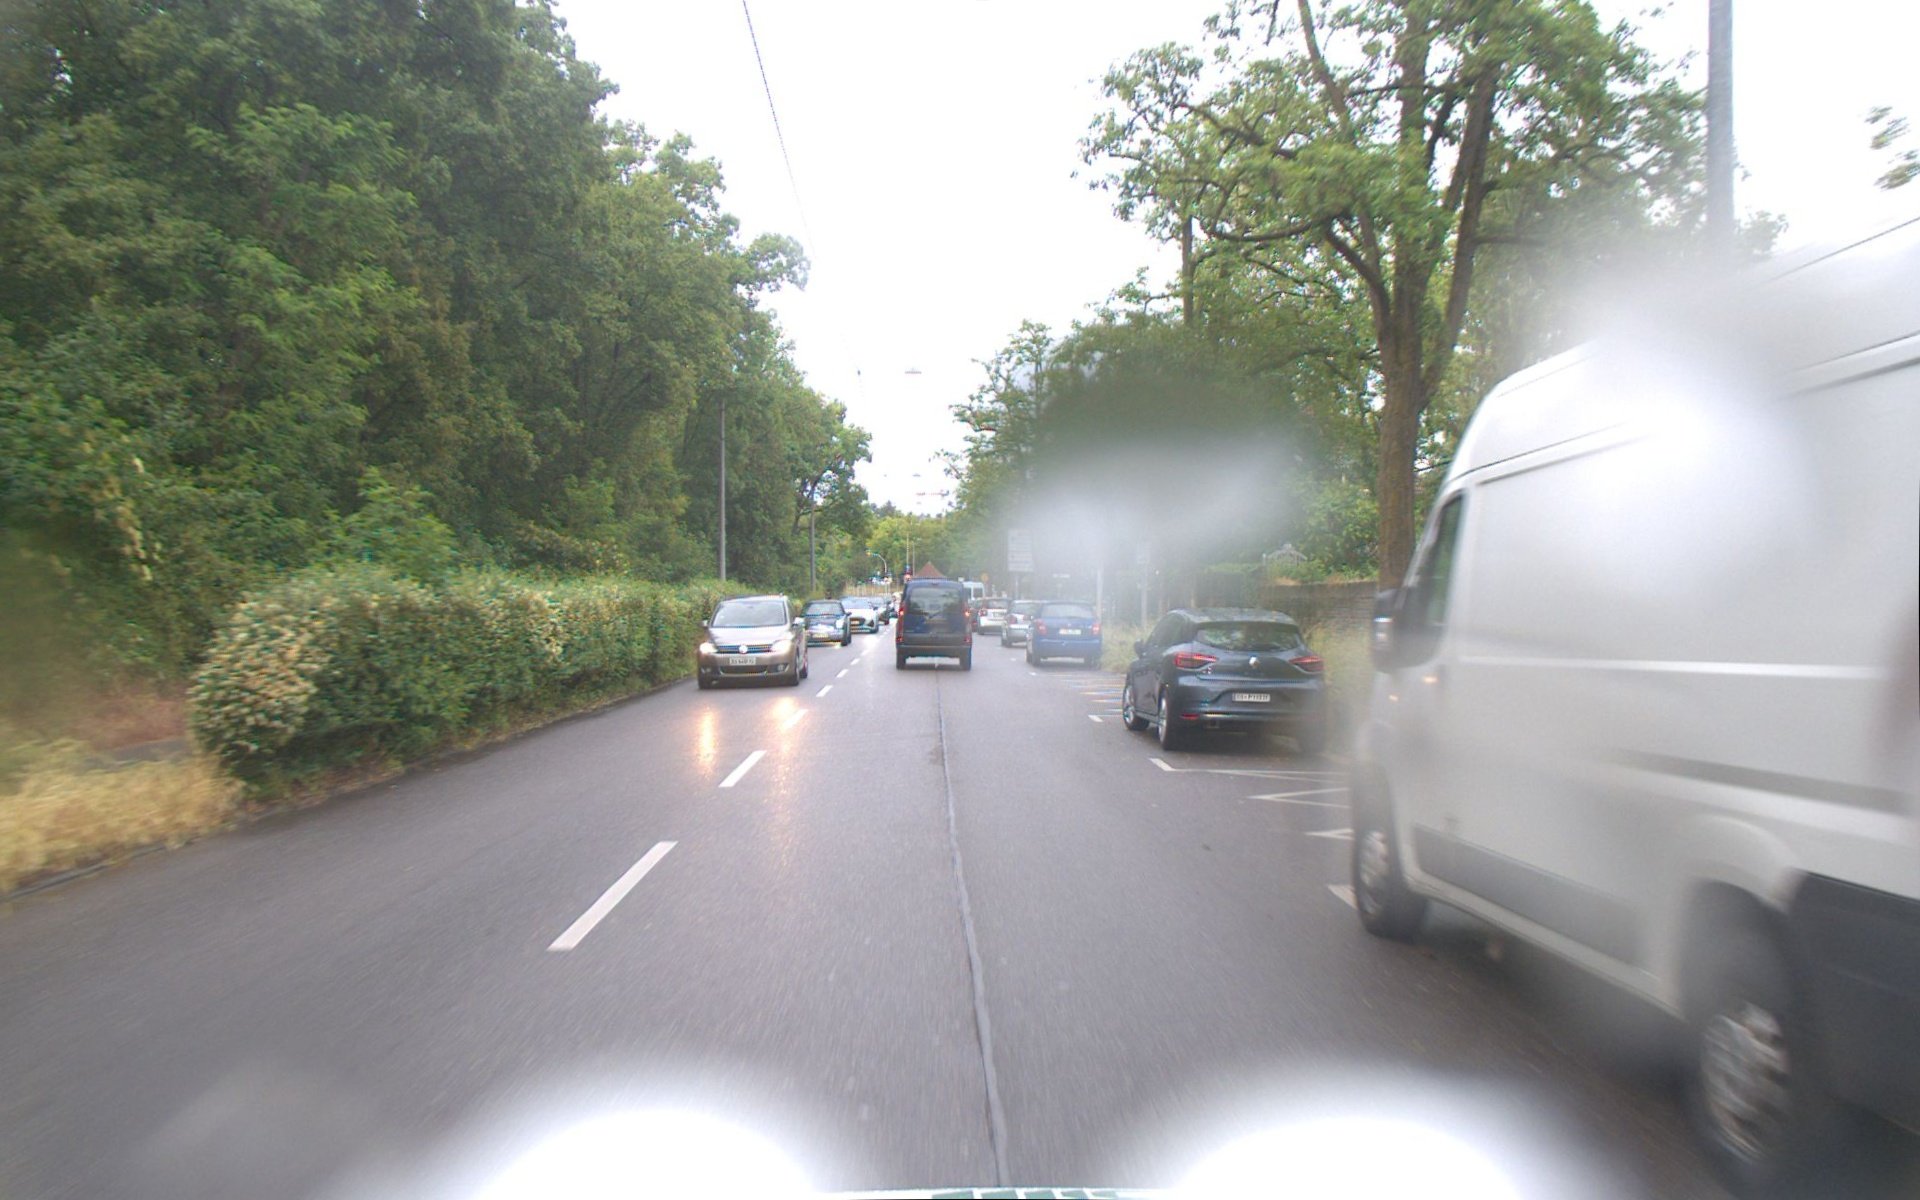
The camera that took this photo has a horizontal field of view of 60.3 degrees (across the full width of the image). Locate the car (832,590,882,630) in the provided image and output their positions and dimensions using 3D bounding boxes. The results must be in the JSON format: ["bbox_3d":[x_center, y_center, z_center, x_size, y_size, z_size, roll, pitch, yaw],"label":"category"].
[{"bbox_3d":[-4.339,0.395,70.341,1.818,1.494,4.446,-2,1,-1],"label":"car"}]

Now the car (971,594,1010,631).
[{"bbox_3d":[1.385,0.542,74.380,1.663,1.551,3.868,1,1,1],"label":"car"}]

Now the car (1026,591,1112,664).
[{"bbox_3d":[2.513,0.600,38.912,1.686,1.532,4.050,1,1,-1],"label":"car"}]

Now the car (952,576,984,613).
[{"bbox_3d":[0.531,-0.370,115.849,2.160,2.492,4.728,0,0,-1],"label":"car"}]

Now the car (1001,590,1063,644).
[{"bbox_3d":[2.216,0.508,51.990,1.586,1.534,3.833,1,1,-3],"label":"car"}]

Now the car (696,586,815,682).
[{"bbox_3d":[-3.588,0.550,29.639,1.695,1.518,3.999,-1,1,-1],"label":"car"}]

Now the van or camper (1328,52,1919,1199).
[{"bbox_3d":[3.010,0.147,5.907,2.036,2.697,5.345,1,1,-1],"label":"van or camper"}]

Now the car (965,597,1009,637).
[{"bbox_3d":[1.106,0.700,68.309,1.600,1.536,2.956,1,1,-3],"label":"car"}]

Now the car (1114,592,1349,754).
[{"bbox_3d":[2.854,0.712,18.240,1.706,1.505,3.961,1,1,-3],"label":"car"}]

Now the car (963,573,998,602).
[{"bbox_3d":[1.102,-0.693,90.646,1.664,1.551,3.866,1,0,-2],"label":"car"}]

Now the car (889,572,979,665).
[{"bbox_3d":[-0.605,0.357,35.666,1.732,1.862,3.539,1,1,-4],"label":"car"}]

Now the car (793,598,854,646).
[{"bbox_3d":[-4.328,0.670,52.711,1.652,1.379,3.723,-2,1,-1],"label":"car"}]
